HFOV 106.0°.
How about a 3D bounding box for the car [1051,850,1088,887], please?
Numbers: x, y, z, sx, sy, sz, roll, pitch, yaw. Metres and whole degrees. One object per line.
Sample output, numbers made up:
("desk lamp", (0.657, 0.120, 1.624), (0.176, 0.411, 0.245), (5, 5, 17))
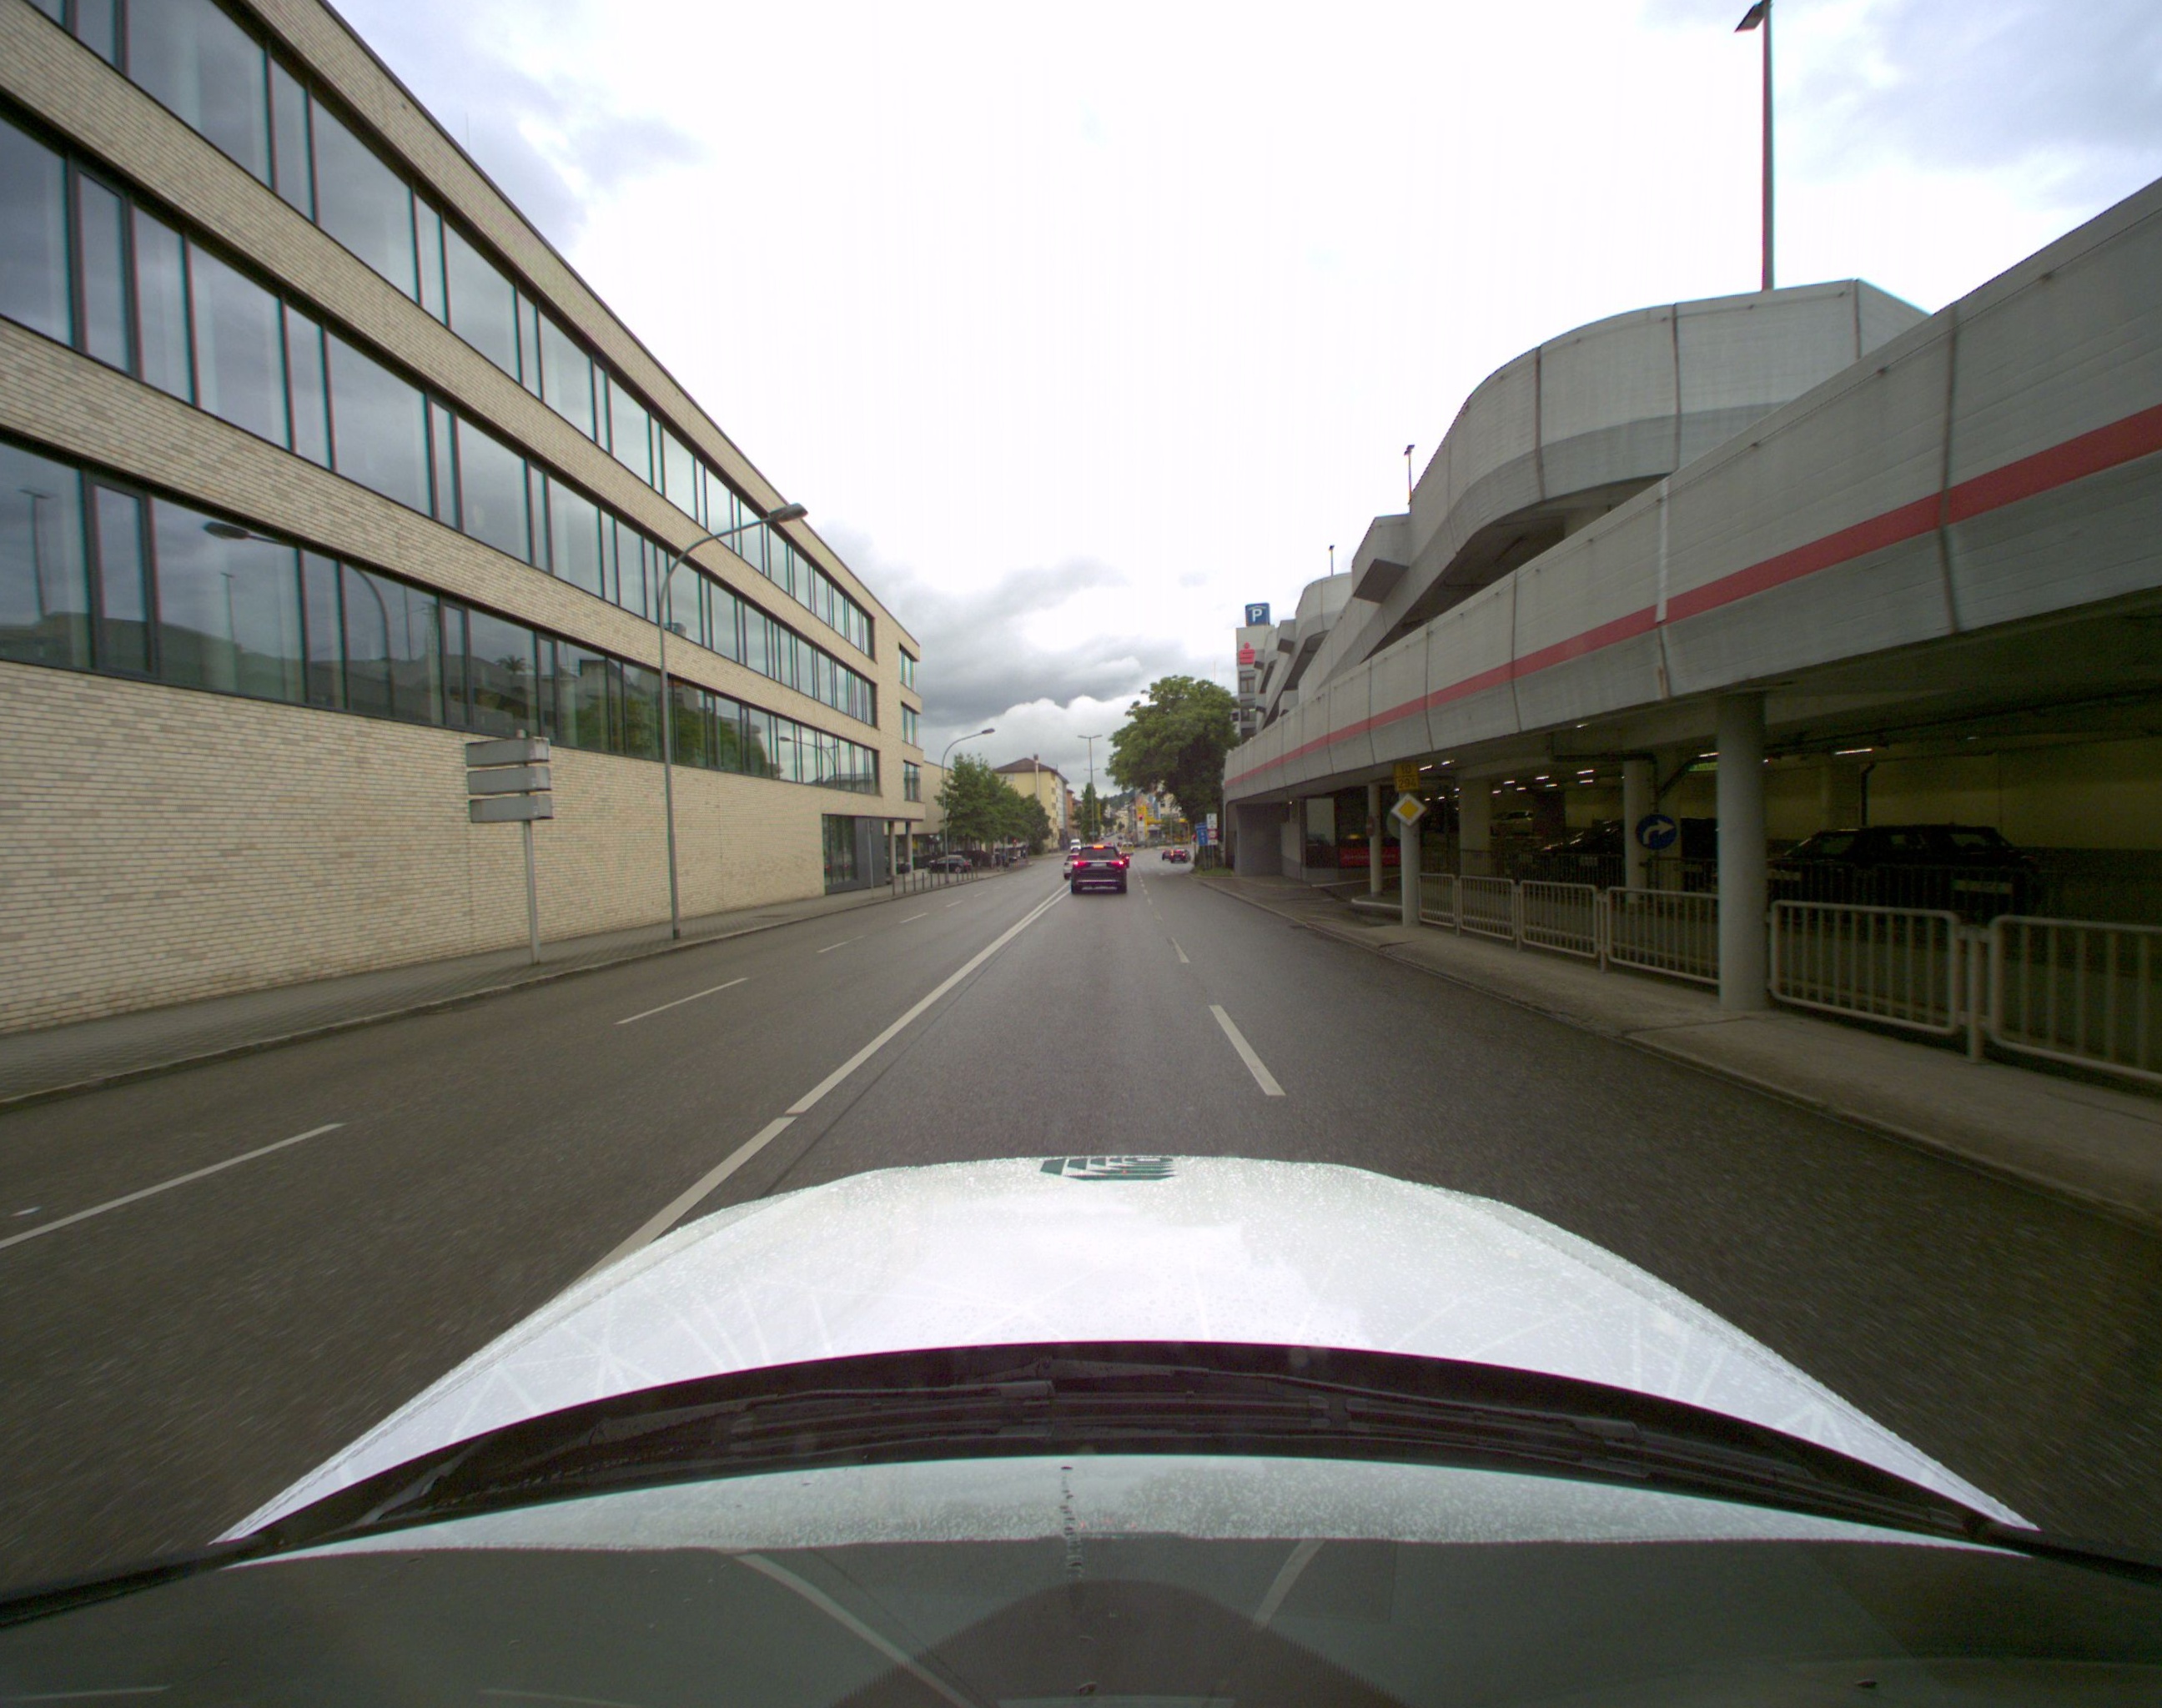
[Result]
("car", (-0.607, 0.826, 47.213), (1.986, 2.014, 4.001), (0, -1, 2))

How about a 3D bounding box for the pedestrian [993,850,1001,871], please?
("pedestrian", (-8.024, 0.592, 77.828), (0.585, 2.014, 0.749), (0, -1, 1))

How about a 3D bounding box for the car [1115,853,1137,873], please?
("car", (3.895, 0.754, 71.249), (1.698, 1.716, 3.442), (0, -1, 0))

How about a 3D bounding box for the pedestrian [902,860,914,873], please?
("pedestrian", (-11.404, 0.841, 53.805), (0.584, 0.845, 0.728), (-1, -1, 3))

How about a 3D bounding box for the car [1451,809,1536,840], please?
("car", (23.589, -1.688, 46.734), (3.960, 1.640, 2.006), (0, -1, 12))

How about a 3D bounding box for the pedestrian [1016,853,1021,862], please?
("pedestrian", (-9.618, 0.521, 124.668), (0.708, 1.462, 0.598), (0, -1, 1))

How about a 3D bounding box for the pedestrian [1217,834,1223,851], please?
("pedestrian", (13.192, -1.097, 77.173), (0.548, 1.532, 0.489), (0, -1, 9))

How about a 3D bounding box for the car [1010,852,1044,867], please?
("car", (-7.854, 0.824, 118.447), (4.797, 2.013, 1.997), (-2, 0, -5))

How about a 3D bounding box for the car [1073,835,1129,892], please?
("car", (0.768, 0.346, 30.780), (1.986, 2.014, 4.001), (0, -1, 2))

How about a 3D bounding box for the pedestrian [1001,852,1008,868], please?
("pedestrian", (-8.448, 0.652, 89.800), (0.686, 1.726, 0.754), (0, -3, 2))

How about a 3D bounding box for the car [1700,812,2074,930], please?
("car", (12.133, 0.242, 12.539), (3.700, 1.505, 1.812), (-3, 1, 10))

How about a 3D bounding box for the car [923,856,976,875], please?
("car", (-11.595, 0.993, 72.115), (4.459, 1.587, 1.997), (-1, 0, -4))

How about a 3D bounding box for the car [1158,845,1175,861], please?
("car", (11.033, -0.162, 105.096), (1.985, 2.014, 4.003), (0, -1, 3))

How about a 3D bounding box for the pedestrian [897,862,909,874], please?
("pedestrian", (-11.587, 0.890, 52.941), (0.595, 0.786, 0.761), (0, -1, 3))

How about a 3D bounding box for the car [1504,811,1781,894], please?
("car", (11.776, -0.012, 17.444), (4.543, 1.640, 1.829), (0, -1, 14))

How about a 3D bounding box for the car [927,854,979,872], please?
("car", (-11.613, 0.825, 74.224), (4.405, 1.573, 1.999), (0, 2, -3))

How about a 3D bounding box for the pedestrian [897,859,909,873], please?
("pedestrian", (-11.706, 0.802, 53.607), (0.678, 0.886, 0.525), (0, -1, 2))

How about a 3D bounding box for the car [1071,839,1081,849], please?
("car", (-0.955, -1.940, 161.697), (1.986, 1.875, 5.143), (0, -1, 1))

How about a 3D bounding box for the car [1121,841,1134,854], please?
("car", (7.231, -0.948, 126.740), (1.986, 2.014, 4.001), (0, -1, 2))

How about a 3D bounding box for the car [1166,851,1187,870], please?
("car", (10.900, 0.708, 92.971), (1.986, 2.013, 4.001), (-1, 0, 1))
